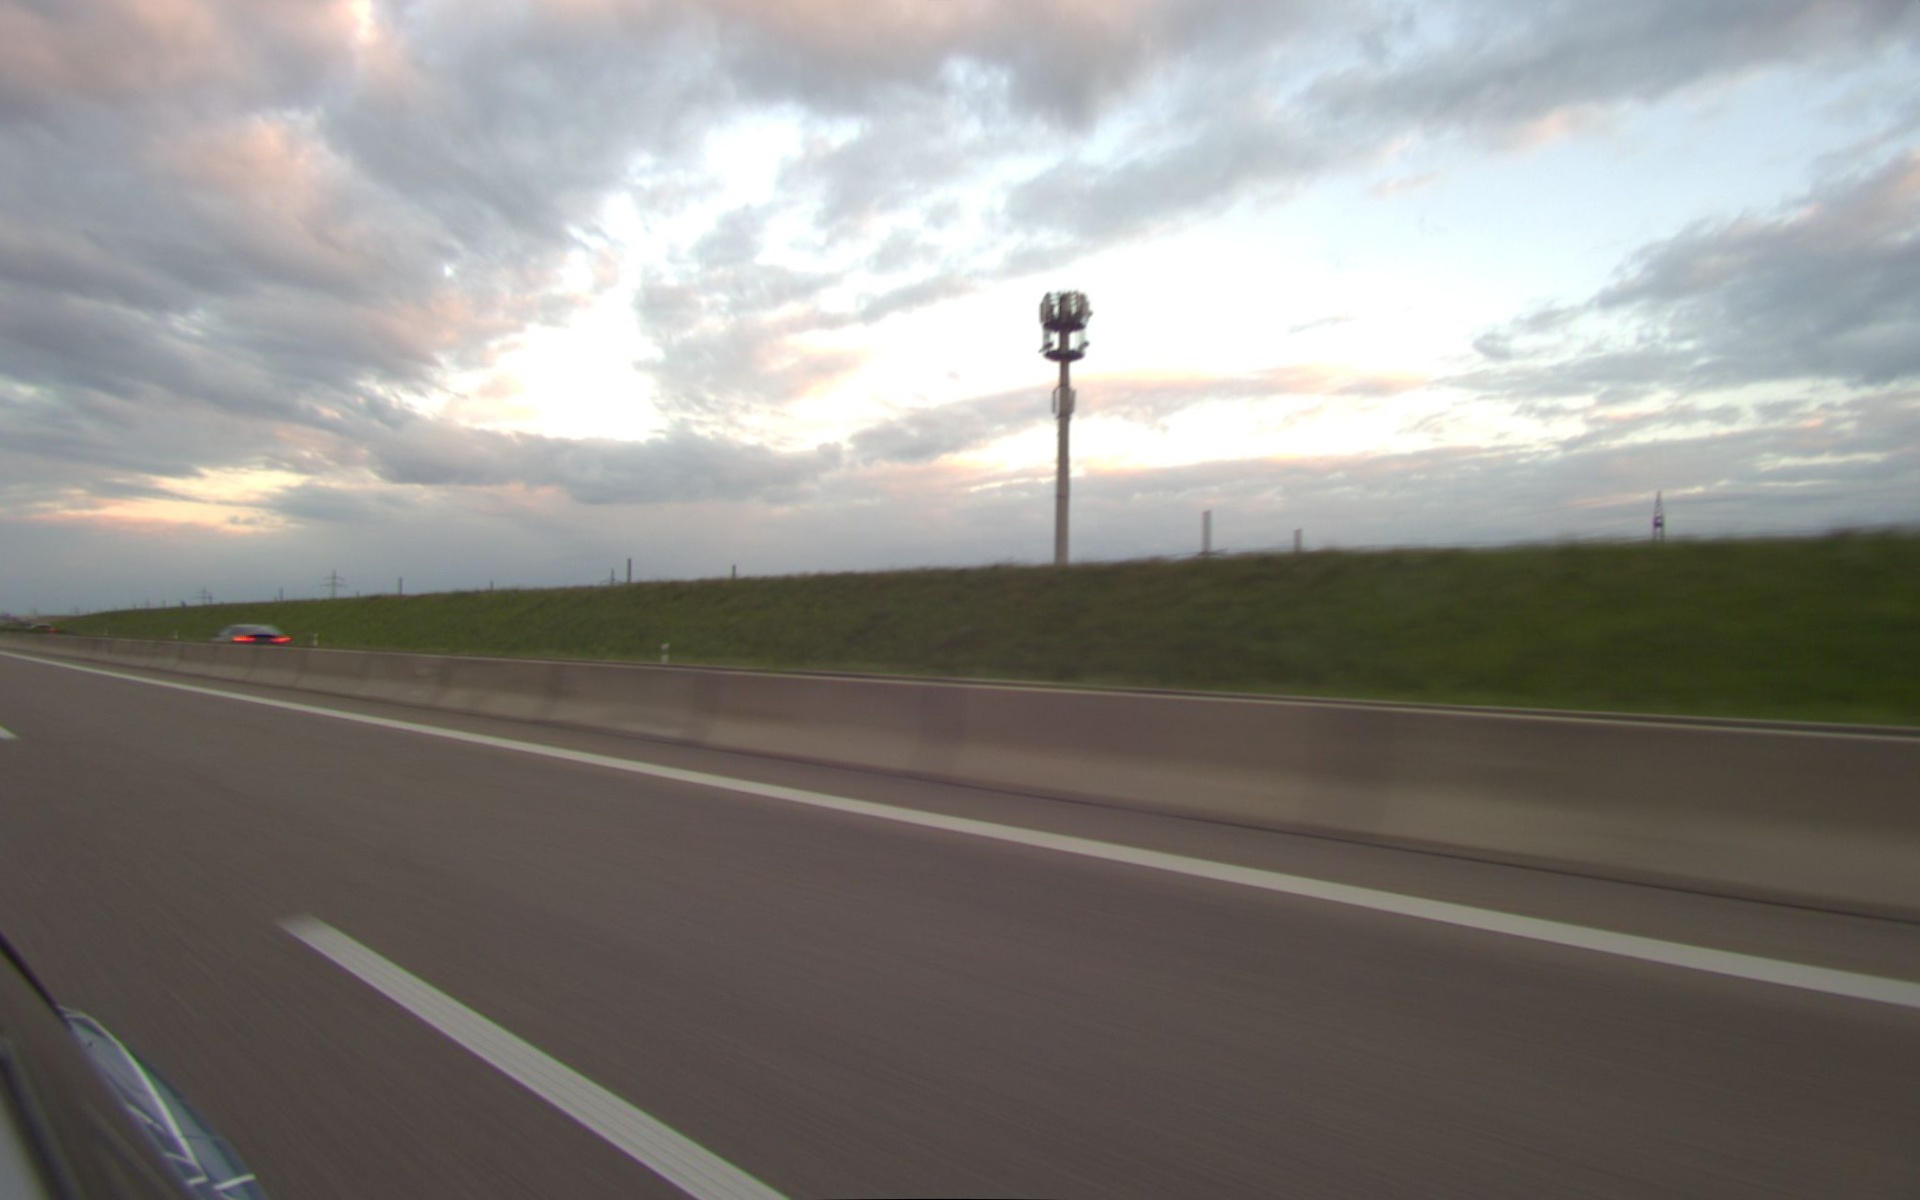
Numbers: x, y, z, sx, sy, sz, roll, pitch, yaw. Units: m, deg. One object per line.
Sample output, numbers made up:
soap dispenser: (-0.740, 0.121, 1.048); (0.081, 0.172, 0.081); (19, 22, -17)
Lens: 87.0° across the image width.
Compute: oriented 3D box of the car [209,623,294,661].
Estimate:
car: (-27.456, 1.600, 39.166); (4.493, 1.396, 1.728); (-2, -3, 42)
